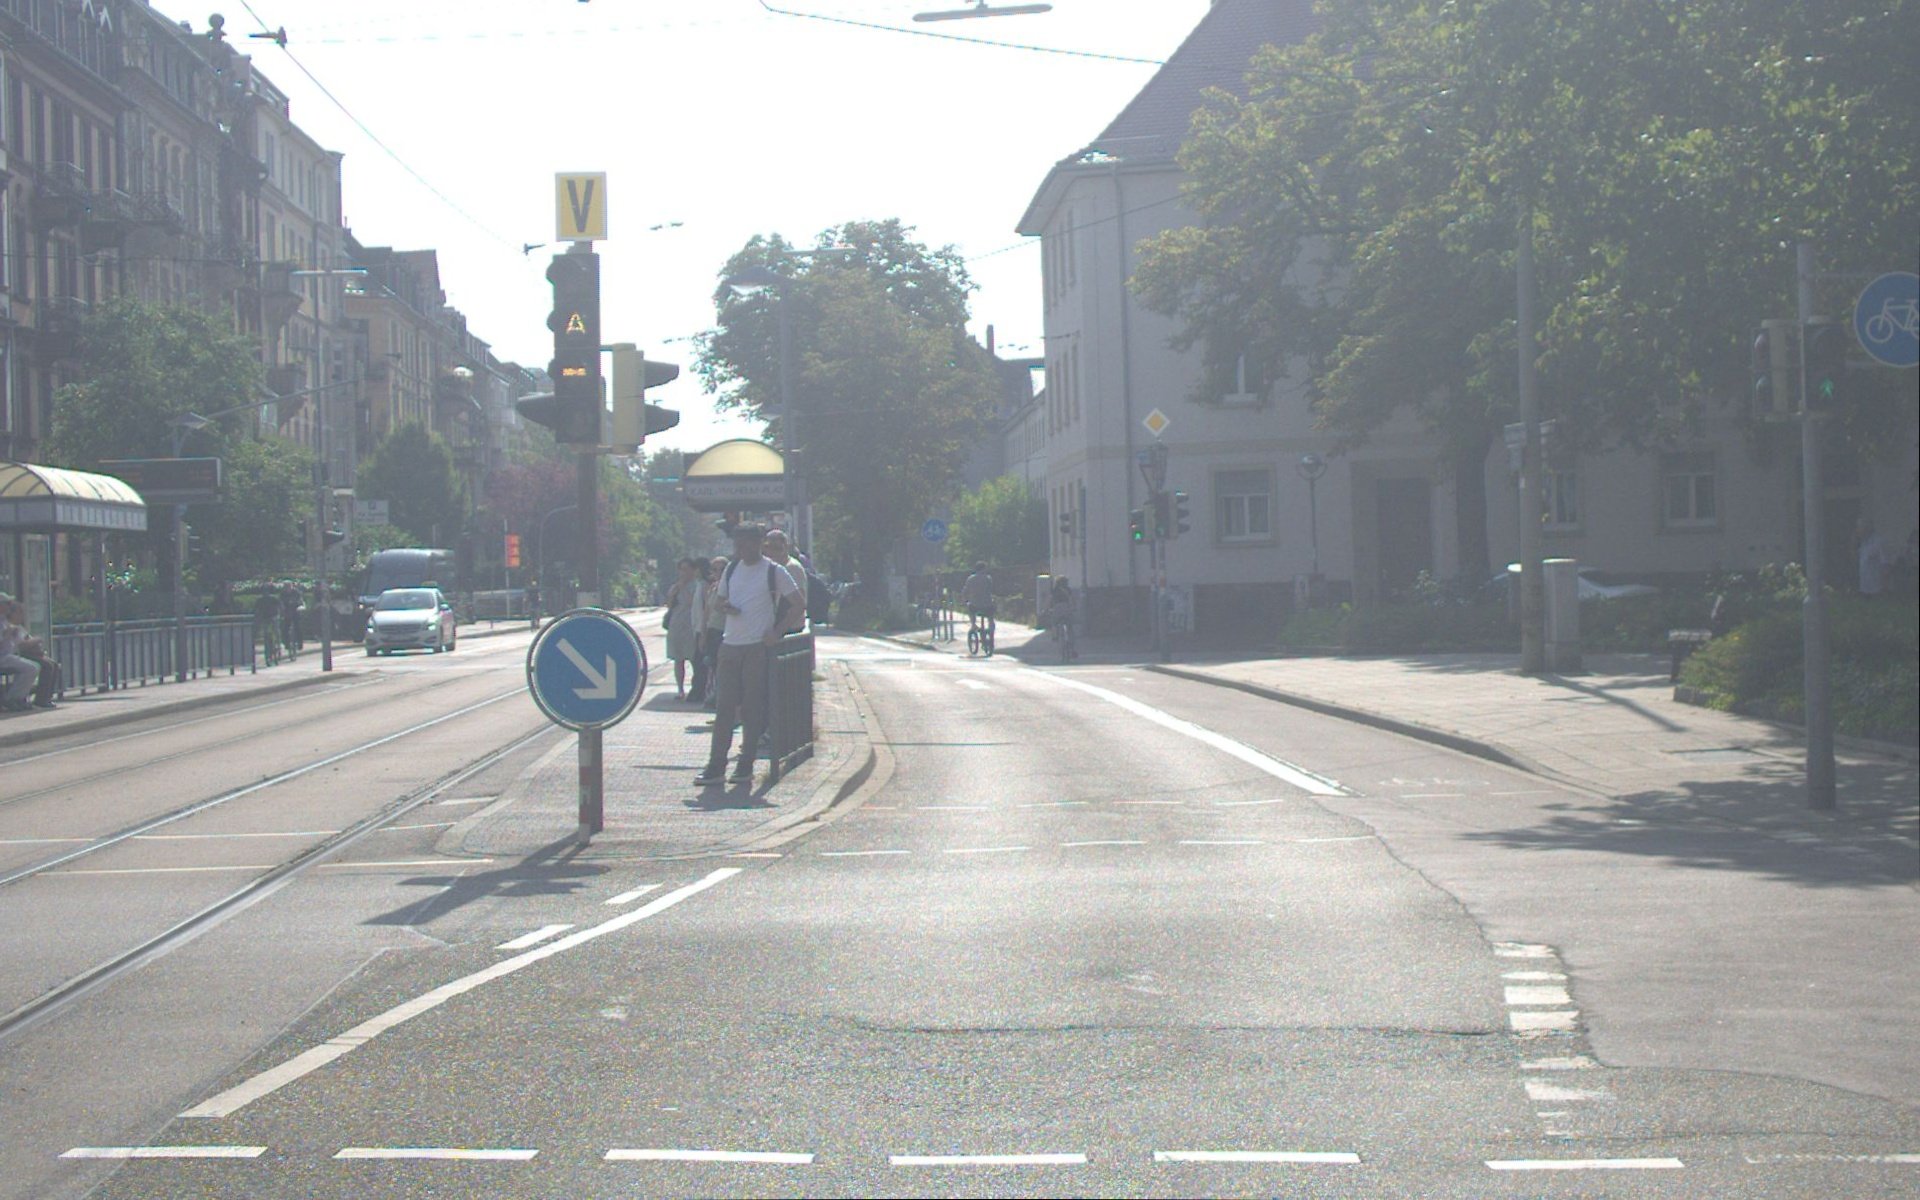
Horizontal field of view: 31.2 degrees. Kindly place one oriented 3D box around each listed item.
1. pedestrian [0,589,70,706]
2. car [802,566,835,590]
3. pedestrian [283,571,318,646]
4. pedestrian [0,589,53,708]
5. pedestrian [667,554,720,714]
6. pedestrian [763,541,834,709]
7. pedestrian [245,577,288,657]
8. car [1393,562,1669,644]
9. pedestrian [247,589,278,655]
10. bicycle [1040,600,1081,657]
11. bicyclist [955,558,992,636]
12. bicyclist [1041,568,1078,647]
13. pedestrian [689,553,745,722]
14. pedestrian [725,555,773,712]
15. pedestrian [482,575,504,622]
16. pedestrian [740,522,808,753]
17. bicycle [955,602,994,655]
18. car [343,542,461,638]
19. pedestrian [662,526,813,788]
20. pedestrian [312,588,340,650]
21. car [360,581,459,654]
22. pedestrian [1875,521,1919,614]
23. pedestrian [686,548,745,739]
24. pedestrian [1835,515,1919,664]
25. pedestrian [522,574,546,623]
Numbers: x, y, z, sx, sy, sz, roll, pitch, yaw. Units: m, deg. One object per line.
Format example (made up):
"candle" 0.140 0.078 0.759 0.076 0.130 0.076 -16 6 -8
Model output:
"pedestrian" -11.077 0.557 40.866 0.827 1.354 0.776 -1 0 -6
"car" -10.491 -1.648 255.229 1.994 1.777 3.999 0 0 5
"pedestrian" -15.312 0.195 79.807 0.750 1.725 0.772 -2 0 -11
"pedestrian" -11.020 0.561 39.890 0.827 1.354 0.776 -1 0 -6
"pedestrian" -2.997 0.378 38.636 0.532 1.753 0.545 1 3 0
"pedestrian" -1.718 0.259 36.622 0.709 1.753 0.534 1 3 -2
"pedestrian" -15.171 0.361 75.233 0.750 1.725 0.771 -1 0 0
"car" 9.997 0.058 60.307 4.331 1.316 1.996 -1 0 37
"pedestrian" -18.640 0.584 91.836 0.750 1.725 0.772 -2 0 -11
"bicycle" 1.826 0.512 62.564 0.558 0.974 1.856 -2 1 -3
"bicyclist" 0.264 -0.058 67.219 0.629 1.502 0.678 -2 0 -3
"bicyclist" 1.808 0.130 62.575 0.558 1.412 0.872 -2 0 -3
"pedestrian" -2.574 0.393 36.416 0.543 1.753 0.534 1 3 -2
"pedestrian" -2.404 0.376 39.228 0.504 1.753 0.534 1 3 -2
"pedestrian" -17.486 -0.052 128.711 0.750 1.725 0.772 -2 0 -11
"pedestrian" -1.494 0.297 27.724 0.504 1.827 0.534 1 3 -2
"bicycle" 0.275 0.552 67.225 0.629 0.974 1.770 -2 1 -3
"car" -16.060 -0.301 99.214 2.347 2.653 5.104 -1 0 2
"pedestrian" -1.519 0.371 23.457 0.701 1.719 0.747 3 3 31
"pedestrian" -17.927 0.535 97.216 0.750 1.725 0.772 -2 0 -11
"car" -13.094 0.402 81.942 1.801 1.648 3.642 -1 0 -1
"pedestrian" 17.912 -0.610 64.975 0.774 1.734 0.893 -2 0 -43
"pedestrian" -2.302 0.404 32.412 0.504 1.753 0.534 1 3 -2
"pedestrian" 10.935 -0.126 40.990 0.892 1.734 0.775 -1 0 18
"pedestrian" -15.343 -0.045 123.760 0.750 1.725 0.772 -2 0 -11
